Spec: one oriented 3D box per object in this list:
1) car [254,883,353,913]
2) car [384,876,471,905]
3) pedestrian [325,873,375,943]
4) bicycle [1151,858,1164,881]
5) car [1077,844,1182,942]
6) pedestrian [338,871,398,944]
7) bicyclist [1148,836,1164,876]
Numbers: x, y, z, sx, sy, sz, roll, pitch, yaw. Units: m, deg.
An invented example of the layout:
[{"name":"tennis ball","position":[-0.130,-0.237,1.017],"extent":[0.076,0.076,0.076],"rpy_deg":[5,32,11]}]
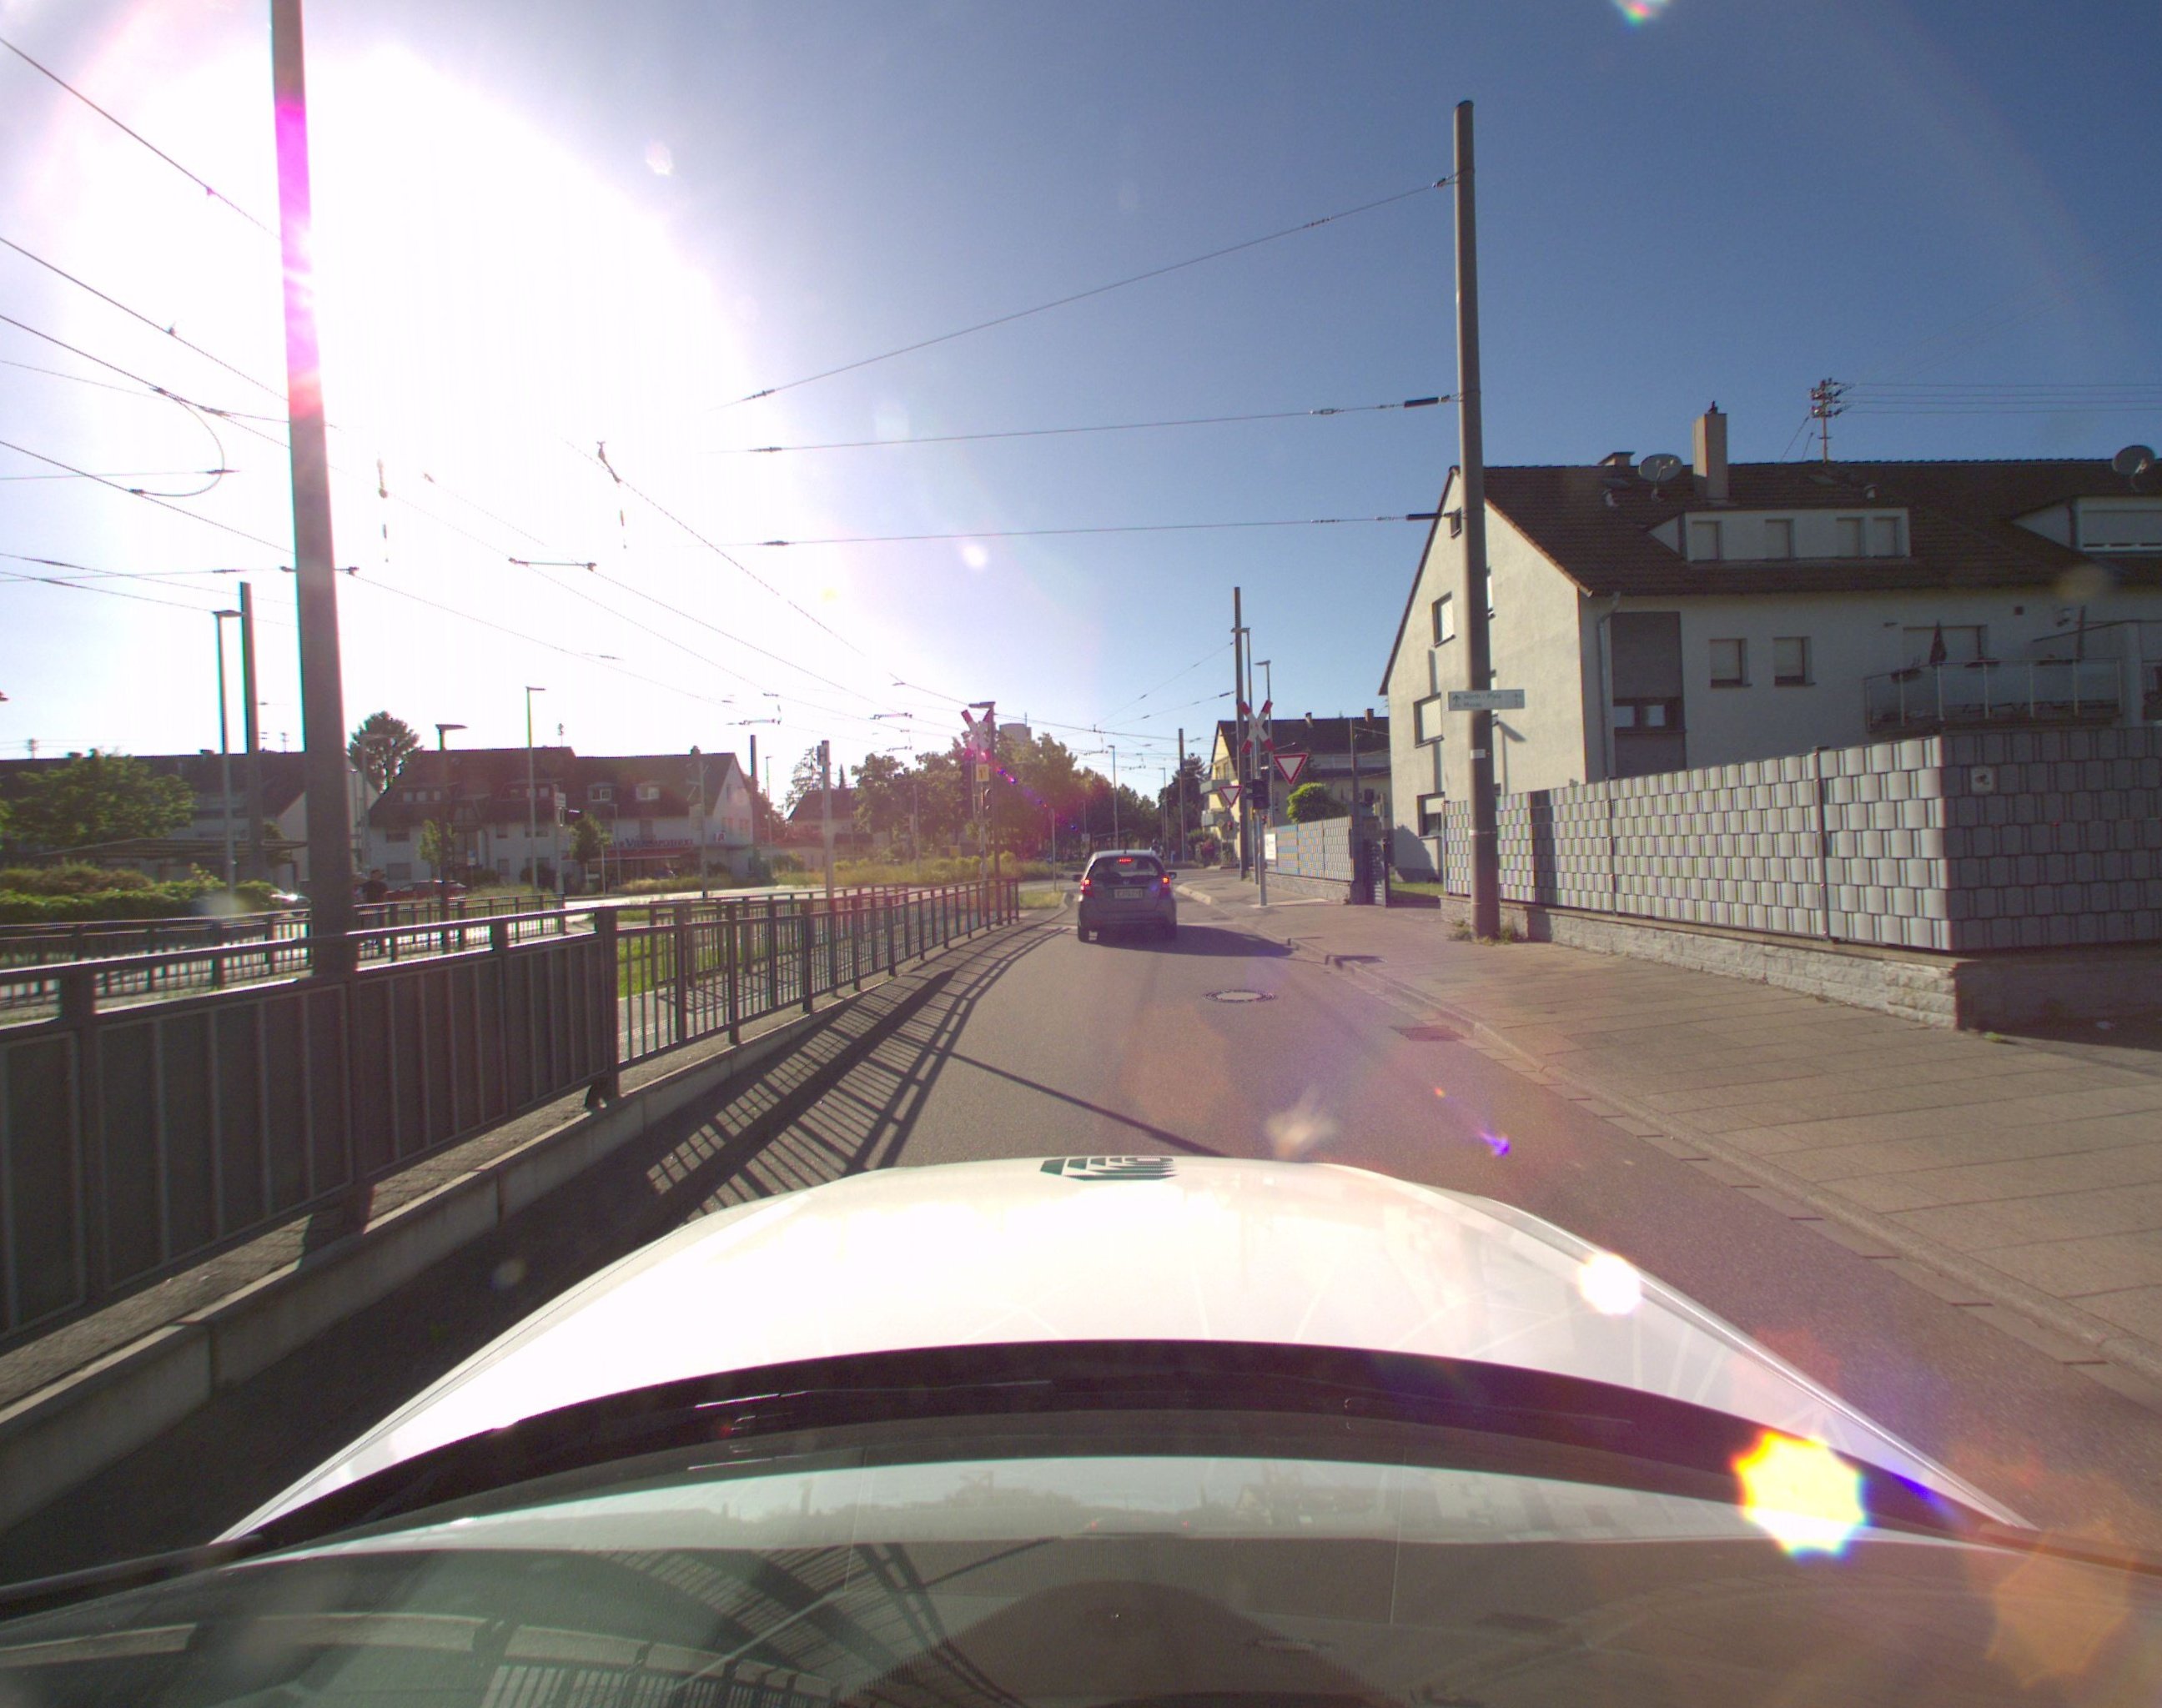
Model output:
[{"name":"car","position":[-45.294,2.545,47.519],"extent":[3.835,1.599,1.823],"rpy_deg":[-1,-1,-8]},{"name":"car","position":[-38.711,2.121,48.296],"extent":[3.506,1.473,1.816],"rpy_deg":[-3,0,-8]},{"name":"pedestrian","position":[-18.986,1.384,21.160],"extent":[0.591,1.732,0.689],"rpy_deg":[-2,0,-1]},{"name":"bicycle","position":[3.341,0.667,35.621],"extent":[0.473,0.961,1.657],"rpy_deg":[-1,0,1]},{"name":"car","position":[0.791,0.622,14.790],"extent":[1.665,1.535,3.487],"rpy_deg":[-1,0,0]},{"name":"pedestrian","position":[-17.855,1.323,20.412],"extent":[0.726,1.762,0.772],"rpy_deg":[-2,0,-1]},{"name":"bicyclist","position":[3.244,0.094,35.314],"extent":[0.596,1.701,0.683],"rpy_deg":[-1,-1,1]}]
